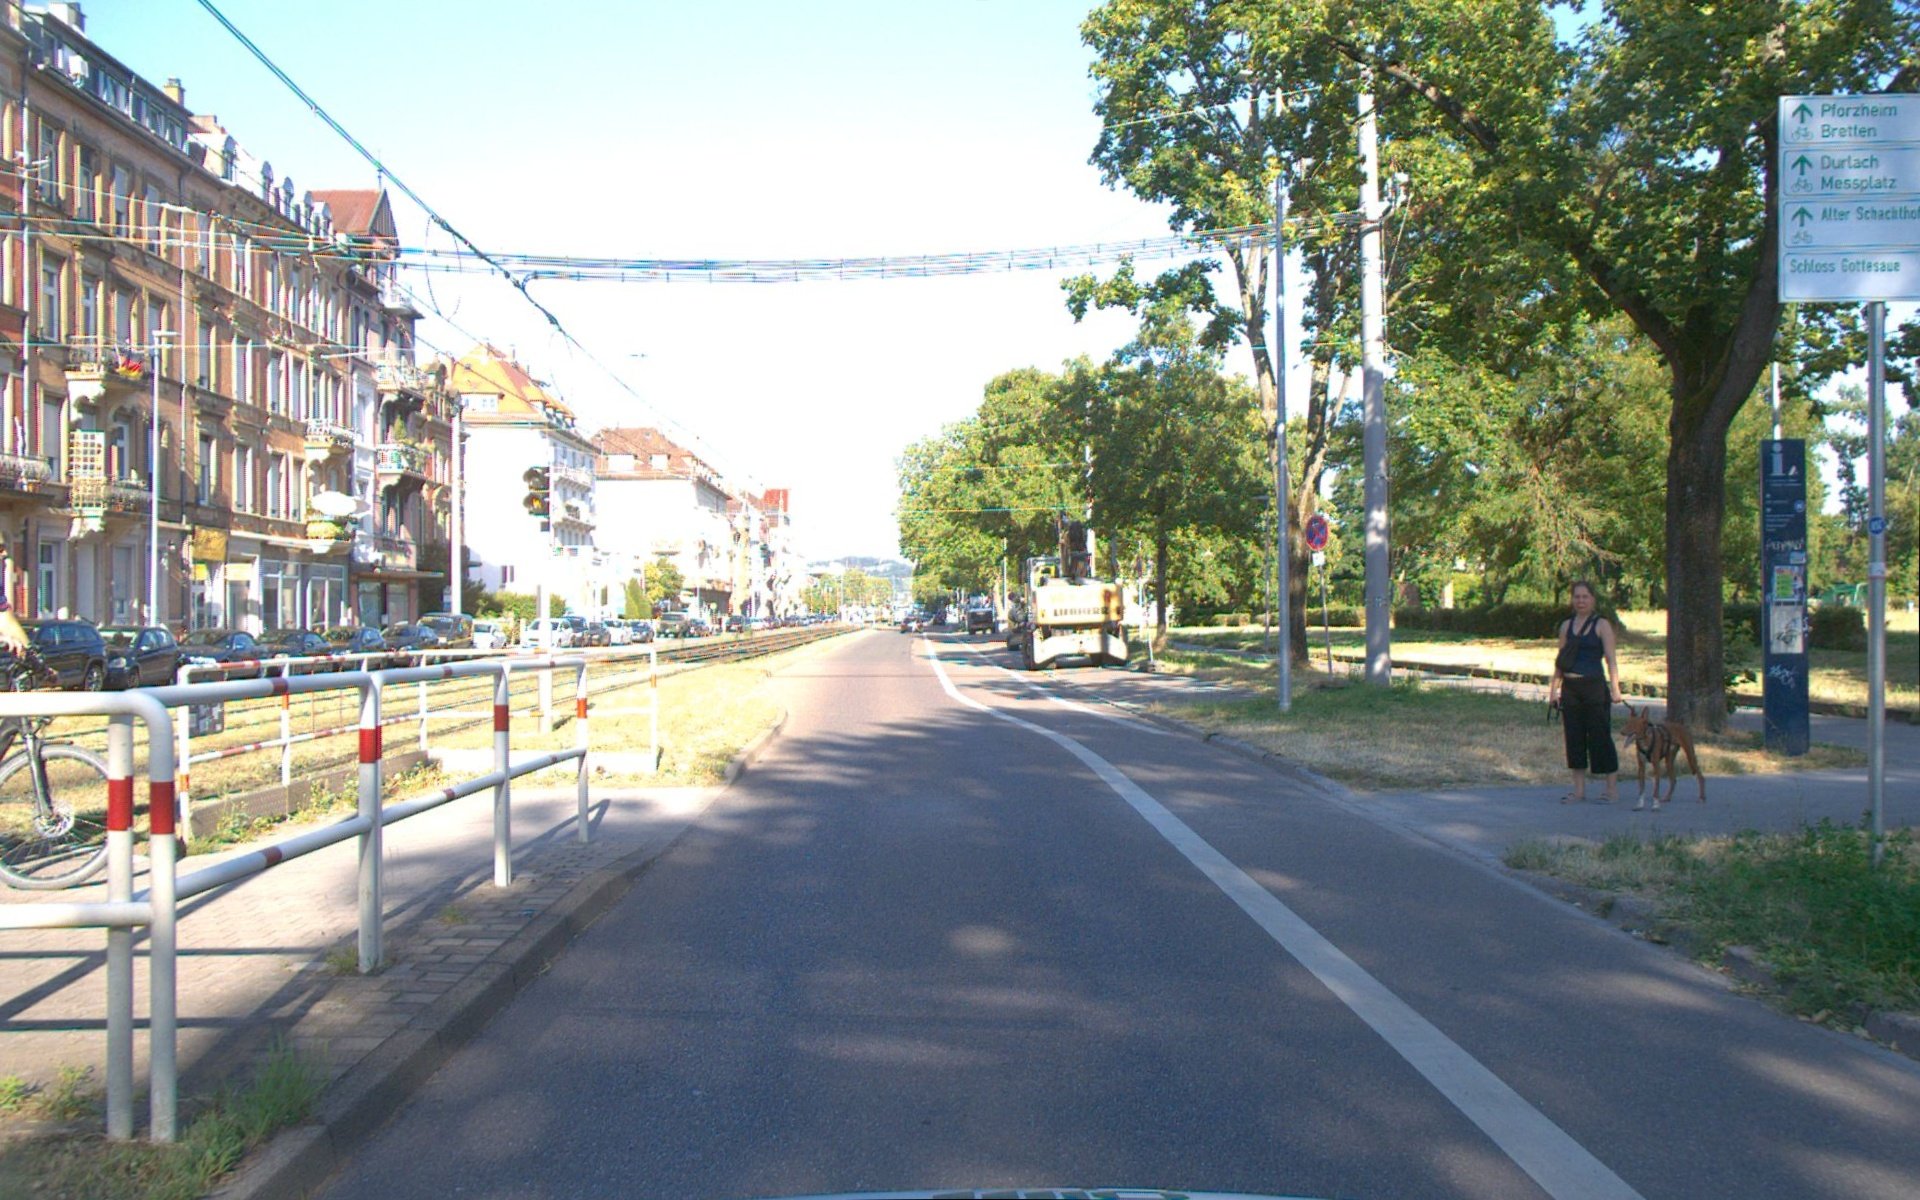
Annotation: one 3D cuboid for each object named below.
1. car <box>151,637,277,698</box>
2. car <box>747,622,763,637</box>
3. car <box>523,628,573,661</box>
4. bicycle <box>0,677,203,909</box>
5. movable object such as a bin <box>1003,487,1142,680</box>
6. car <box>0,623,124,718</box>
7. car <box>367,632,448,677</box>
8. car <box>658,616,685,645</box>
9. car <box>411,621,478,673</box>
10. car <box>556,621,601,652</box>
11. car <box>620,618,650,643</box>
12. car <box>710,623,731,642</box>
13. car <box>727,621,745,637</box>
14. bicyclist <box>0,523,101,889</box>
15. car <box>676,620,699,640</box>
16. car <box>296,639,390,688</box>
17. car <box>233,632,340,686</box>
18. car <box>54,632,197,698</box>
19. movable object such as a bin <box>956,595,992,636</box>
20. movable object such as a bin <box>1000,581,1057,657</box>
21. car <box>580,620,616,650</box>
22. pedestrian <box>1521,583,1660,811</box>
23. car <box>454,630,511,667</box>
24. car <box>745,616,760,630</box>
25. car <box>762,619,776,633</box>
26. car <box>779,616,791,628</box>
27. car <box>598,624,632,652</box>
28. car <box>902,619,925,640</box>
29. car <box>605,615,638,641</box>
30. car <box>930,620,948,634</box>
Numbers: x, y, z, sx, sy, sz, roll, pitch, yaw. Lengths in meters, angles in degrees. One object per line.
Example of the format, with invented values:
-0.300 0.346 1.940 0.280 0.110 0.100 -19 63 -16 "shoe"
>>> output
-20.183 1.803 44.929 1.741 1.431 3.907 1 0 -2 "car"
-23.709 3.384 191.044 1.496 1.588 3.222 1 0 -2 "car"
-21.299 2.283 85.599 1.706 1.588 3.766 1 0 -2 "car"
-4.934 0.949 8.320 1.911 1.059 0.767 -1 0 7 "bicycle"
3.239 -0.424 50.274 3.025 5.177 8.887 -3 -1 -2 "movable object such as a bin"
-20.028 1.443 35.459 1.975 1.784 4.556 1 0 -2 "car"
-20.091 1.961 60.288 1.741 1.431 3.977 1 0 -2 "car"
-22.737 2.374 130.452 1.625 2.177 3.524 1 0 -2 "car"
-20.512 1.844 65.899 1.531 1.886 3.898 1 0 -2 "car"
-20.819 1.981 90.375 1.706 1.588 3.766 1 0 -2 "car"
-21.846 2.056 111.320 1.496 1.588 3.222 1 0 -2 "car"
-21.923 2.941 151.378 1.496 1.588 3.222 1 0 -2 "car"
-23.587 3.070 174.114 1.496 1.588 3.222 1 0 -2 "car"
-4.993 0.513 8.311 0.900 1.745 0.767 -1 0 7 "bicyclist"
-22.476 2.456 136.465 1.496 1.588 3.222 1 0 -2 "car"
-20.293 2.065 54.556 1.741 1.431 3.907 1 0 -2 "car"
-20.273 1.757 49.947 1.741 1.431 3.907 1 0 -2 "car"
-20.154 1.541 40.093 1.740 1.492 3.529 1 -1 -2 "car"
1.088 1.165 127.766 2.418 2.956 3.998 -4 -1 -2 "movable object such as a bin"
2.954 0.828 72.508 1.929 3.065 4.794 -3 -1 -2 "movable object such as a bin"
-20.976 2.008 95.914 1.496 1.588 3.222 1 0 -2 "car"
4.890 0.732 12.883 0.647 1.675 0.862 -3 -1 -1 "pedestrian"
-20.977 2.112 72.762 1.531 1.483 3.663 1 0 -2 "car"
-25.091 2.760 199.863 1.496 1.638 3.222 1 0 -2 "car"
-24.529 3.349 212.292 1.496 1.638 3.222 1 0 -2 "car"
-25.761 3.258 243.291 1.496 1.638 3.222 1 0 -2 "car"
-21.344 2.329 102.439 1.496 1.588 3.222 1 0 -2 "car"
-3.956 2.526 141.168 1.953 1.713 3.998 1 -1 -2 "car"
-21.765 1.801 106.376 1.496 1.588 3.222 1 0 -2 "car"
-2.950 3.813 230.771 1.956 1.892 3.993 1 -1 -8 "car"
